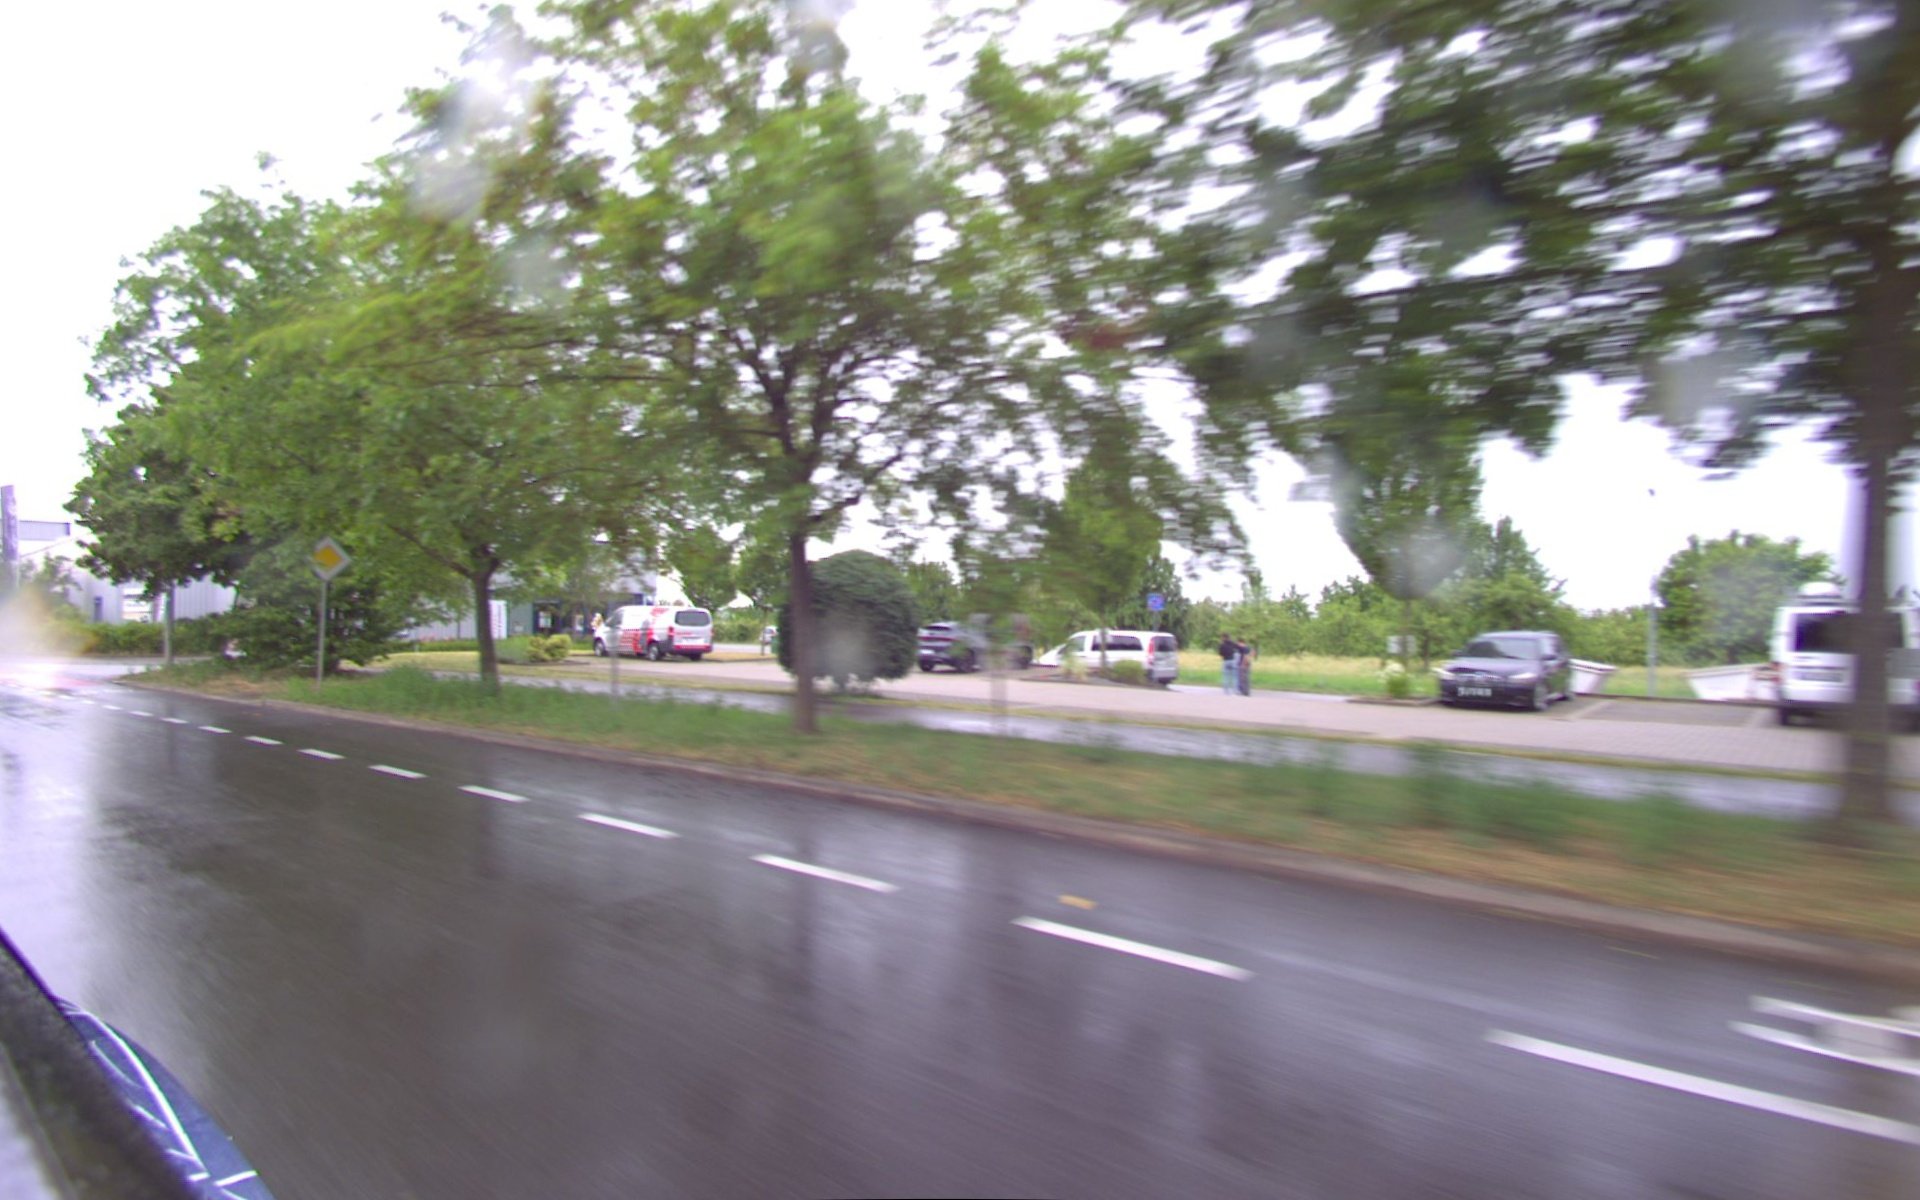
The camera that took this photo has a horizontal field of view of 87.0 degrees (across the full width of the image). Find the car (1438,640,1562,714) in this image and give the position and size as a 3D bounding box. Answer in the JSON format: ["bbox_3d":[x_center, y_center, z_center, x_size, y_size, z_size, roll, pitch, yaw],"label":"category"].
[{"bbox_3d":[10.900,1.481,20.335,1.702,1.253,3.370,-2,-1,36],"label":"car"}]

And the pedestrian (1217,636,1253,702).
[{"bbox_3d":[7.933,1.973,29.189,0.764,1.851,0.676,-2,-2,34],"label":"pedestrian"}]

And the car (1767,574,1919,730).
[{"bbox_3d":[15.425,0.797,17.287,2.185,2.328,4.428,-3,-2,43],"label":"car"}]

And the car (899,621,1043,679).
[{"bbox_3d":[0.382,1.468,31.011,4.104,1.568,2.123,0,-1,-44],"label":"car"}]

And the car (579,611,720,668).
[{"bbox_3d":[-11.031,1.402,35.754,5.604,1.836,2.013,-2,-2,40],"label":"car"}]
